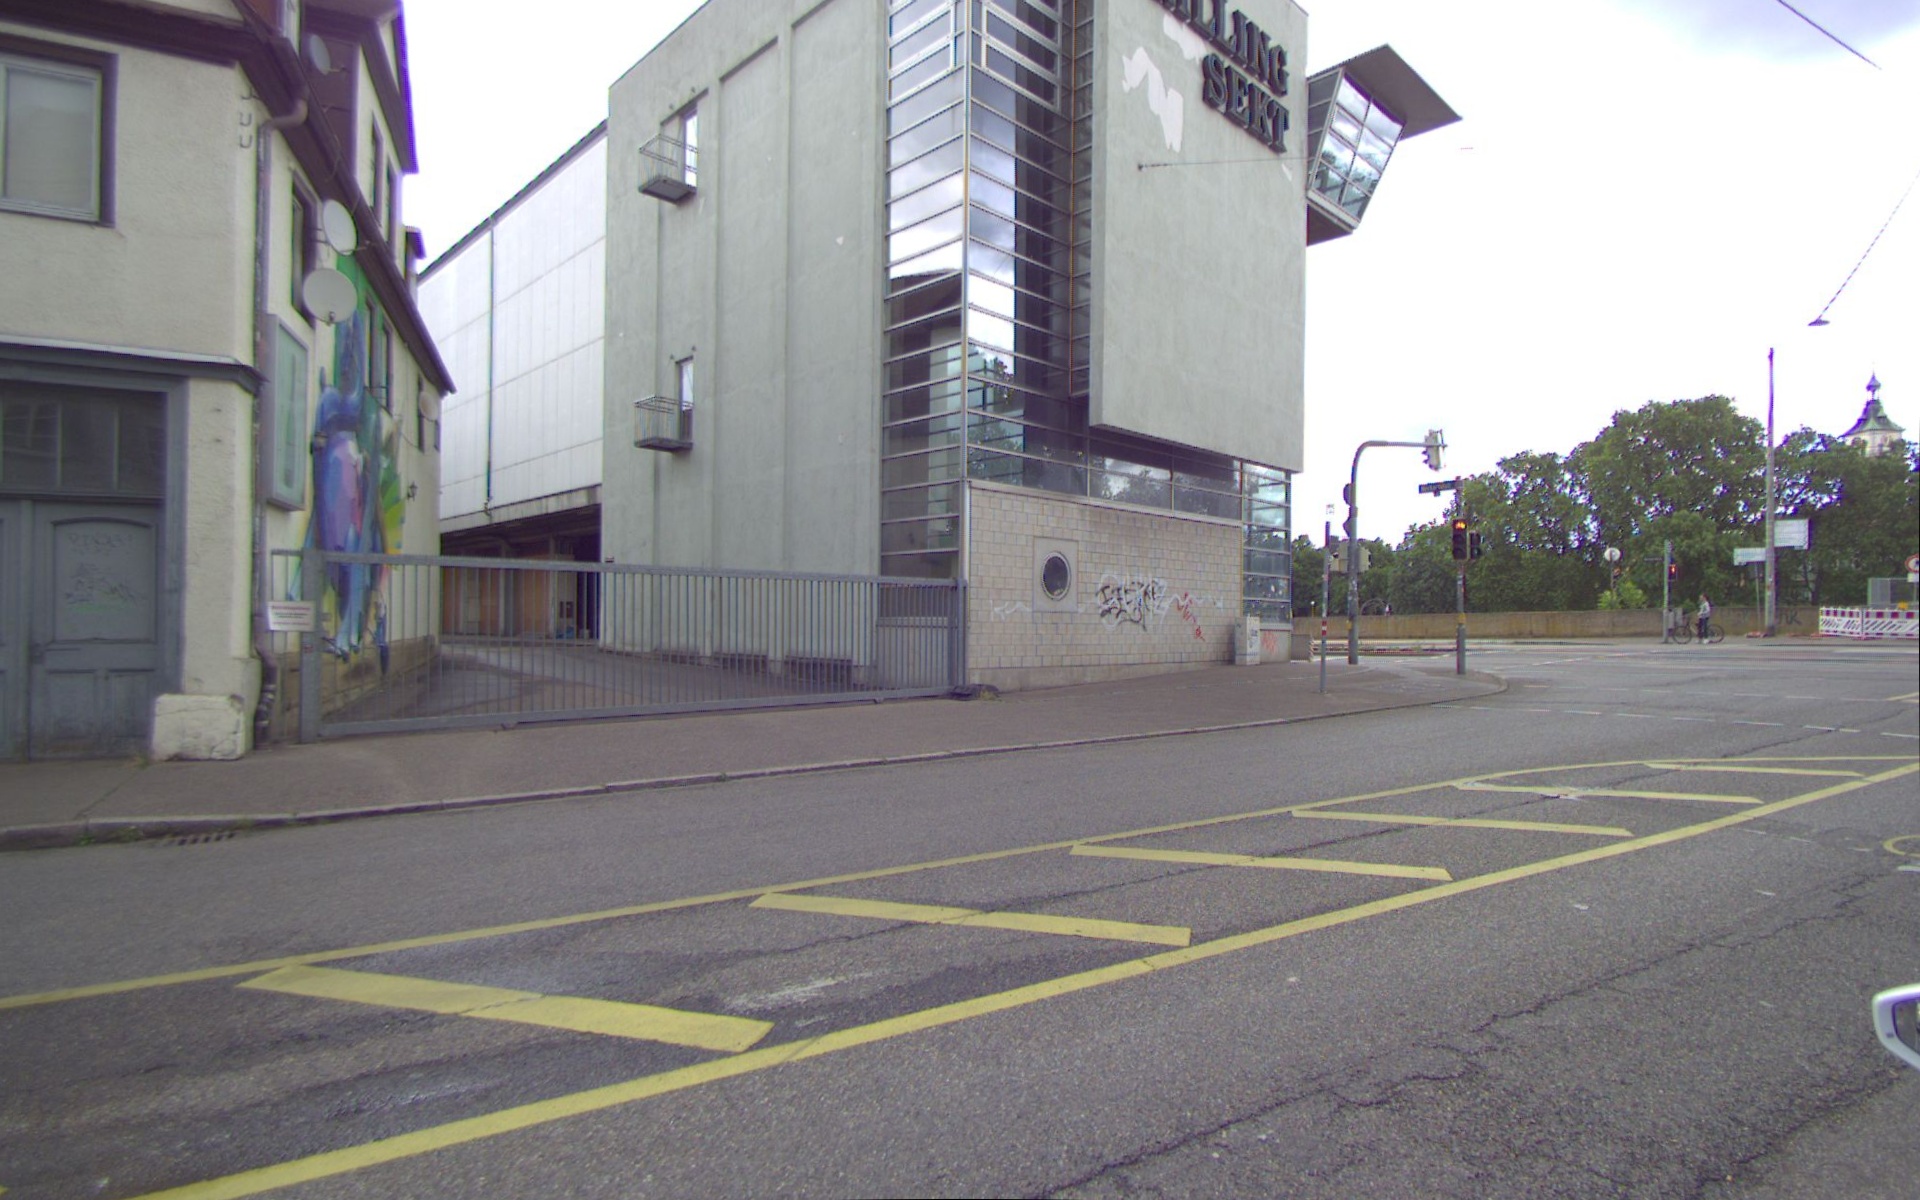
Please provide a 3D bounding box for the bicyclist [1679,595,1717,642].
[{"bbox_3d":[28.581,0.706,38.903,0.985,1.767,0.755,0,0,19],"label":"bicyclist"}]

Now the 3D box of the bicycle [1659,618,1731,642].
[{"bbox_3d":[28.479,1.155,38.953,2.096,0.904,0.760,-1,0,20],"label":"bicycle"}]
